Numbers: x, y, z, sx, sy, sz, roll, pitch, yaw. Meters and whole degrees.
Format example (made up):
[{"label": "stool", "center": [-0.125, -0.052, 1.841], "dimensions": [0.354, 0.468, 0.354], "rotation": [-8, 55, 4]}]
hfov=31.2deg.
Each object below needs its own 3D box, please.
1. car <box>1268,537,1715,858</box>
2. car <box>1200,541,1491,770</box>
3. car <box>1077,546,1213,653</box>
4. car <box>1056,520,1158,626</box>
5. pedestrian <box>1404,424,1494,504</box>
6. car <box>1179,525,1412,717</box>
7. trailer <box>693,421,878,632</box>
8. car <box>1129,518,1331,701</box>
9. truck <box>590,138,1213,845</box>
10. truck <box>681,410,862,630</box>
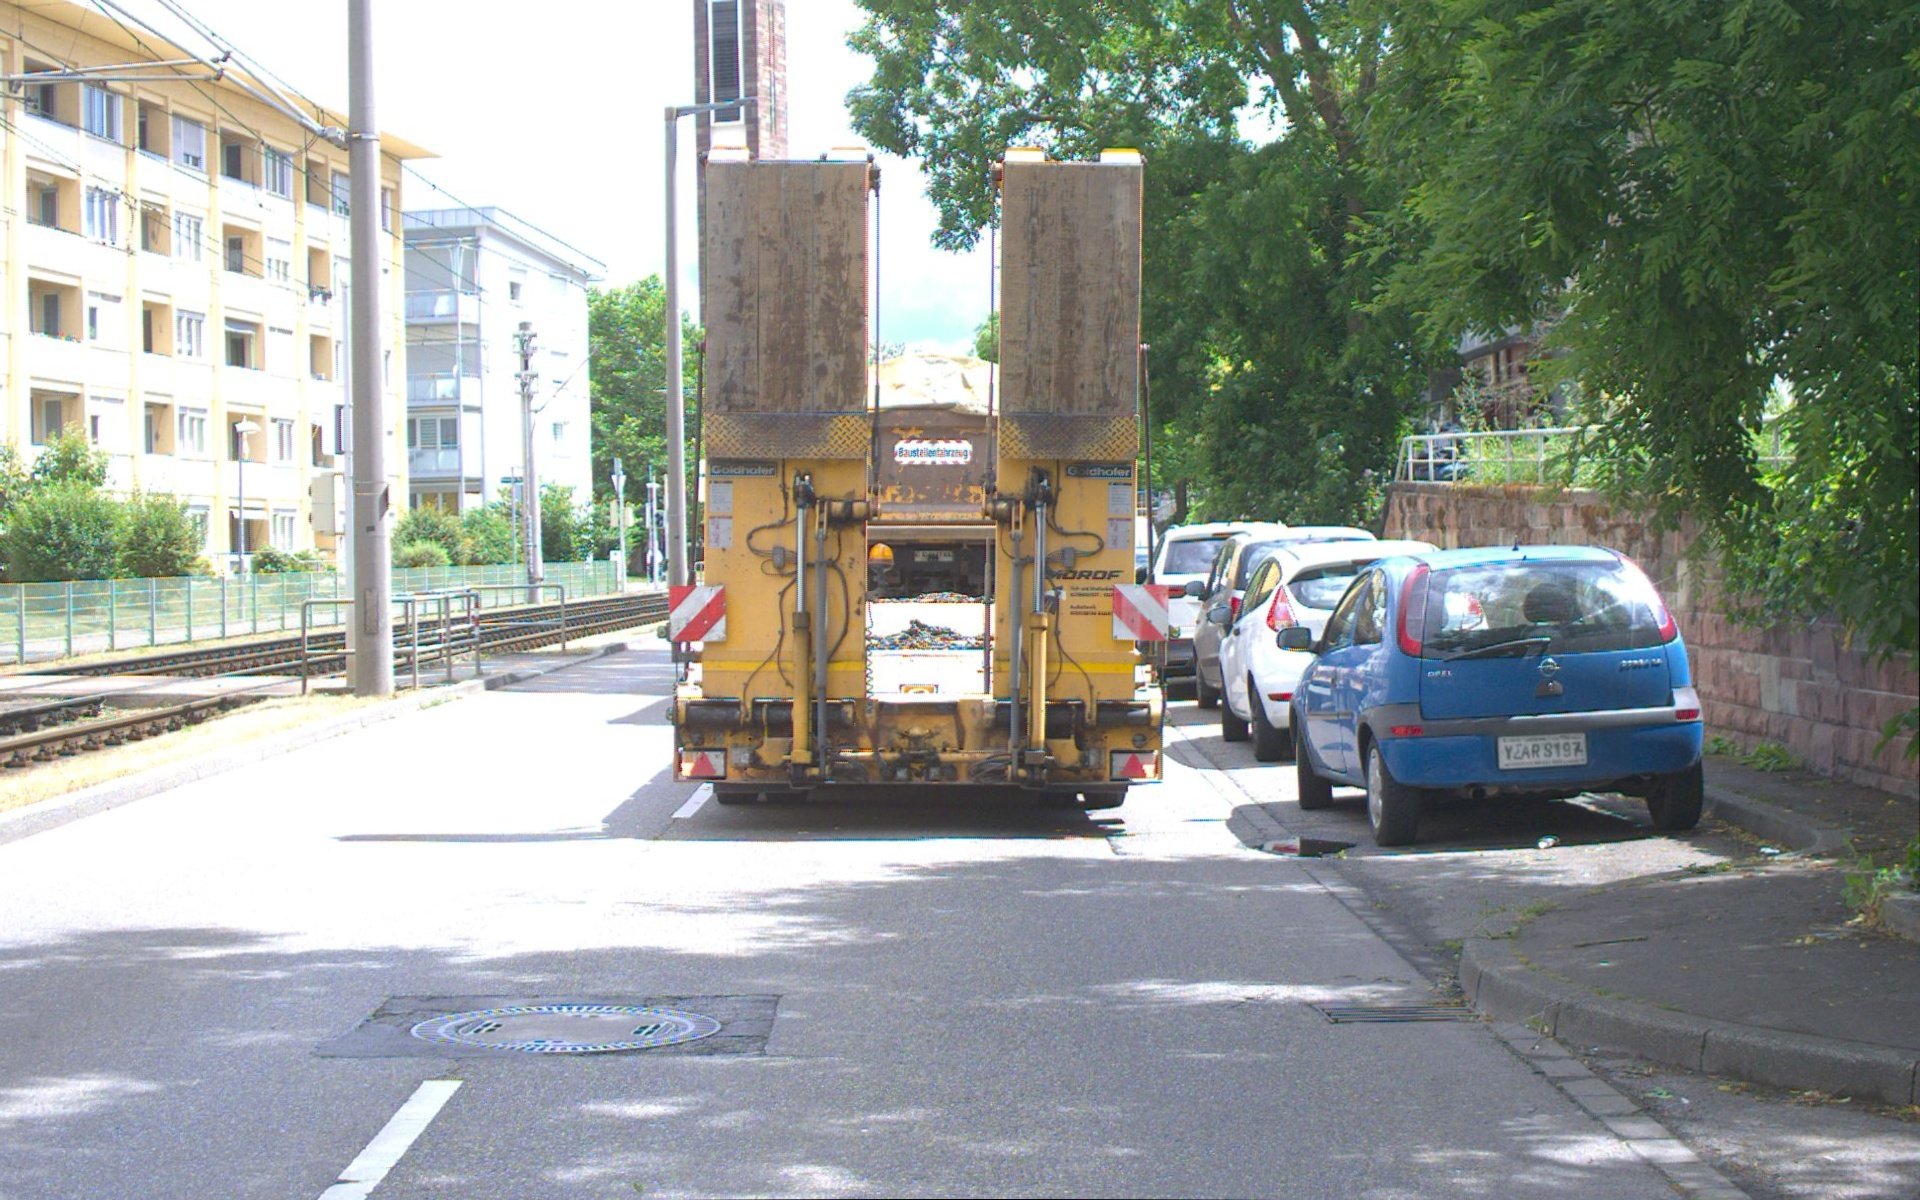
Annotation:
[{"label": "car", "center": [2.687, 0.428, 18.127], "dimensions": [1.608, 1.451, 3.676], "rotation": [-2, 1, -2]}, {"label": "car", "center": [2.684, 0.336, 24.655], "dimensions": [1.645, 1.484, 3.822], "rotation": [0, 1, 0]}, {"label": "car", "center": [2.643, -0.045, 49.957], "dimensions": [1.836, 1.400, 4.413], "rotation": [-2, 1, 2]}, {"label": "car", "center": [2.863, -0.568, 67.684], "dimensions": [1.799, 1.961, 4.590], "rotation": [-2, 1, 1]}, {"label": "pedestrian", "center": [4.902, -1.362, 34.513], "dimensions": [0.795, 0.787, 0.705], "rotation": [0, 1, -1]}, {"label": "car", "center": [2.851, 0.135, 29.787], "dimensions": [1.581, 1.547, 3.475], "rotation": [0, 1, -2]}, {"label": "trailer", "center": [-3.138, -1.414, 65.530], "dimensions": [2.698, 3.568, 13.675], "rotation": [1, 1, 0]}, {"label": "car", "center": [2.644, 0.041, 34.550], "dimensions": [1.824, 1.676, 4.575], "rotation": [-1, 1, 2]}, {"label": "truck", "center": [-0.519, -0.691, 23.615], "dimensions": [3.123, 3.552, 12.461], "rotation": [0, 1, -2]}, {"label": "truck", "center": [-3.164, -1.376, 59.206], "dimensions": [2.698, 3.568, 6.145], "rotation": [1, 1, 0]}]
